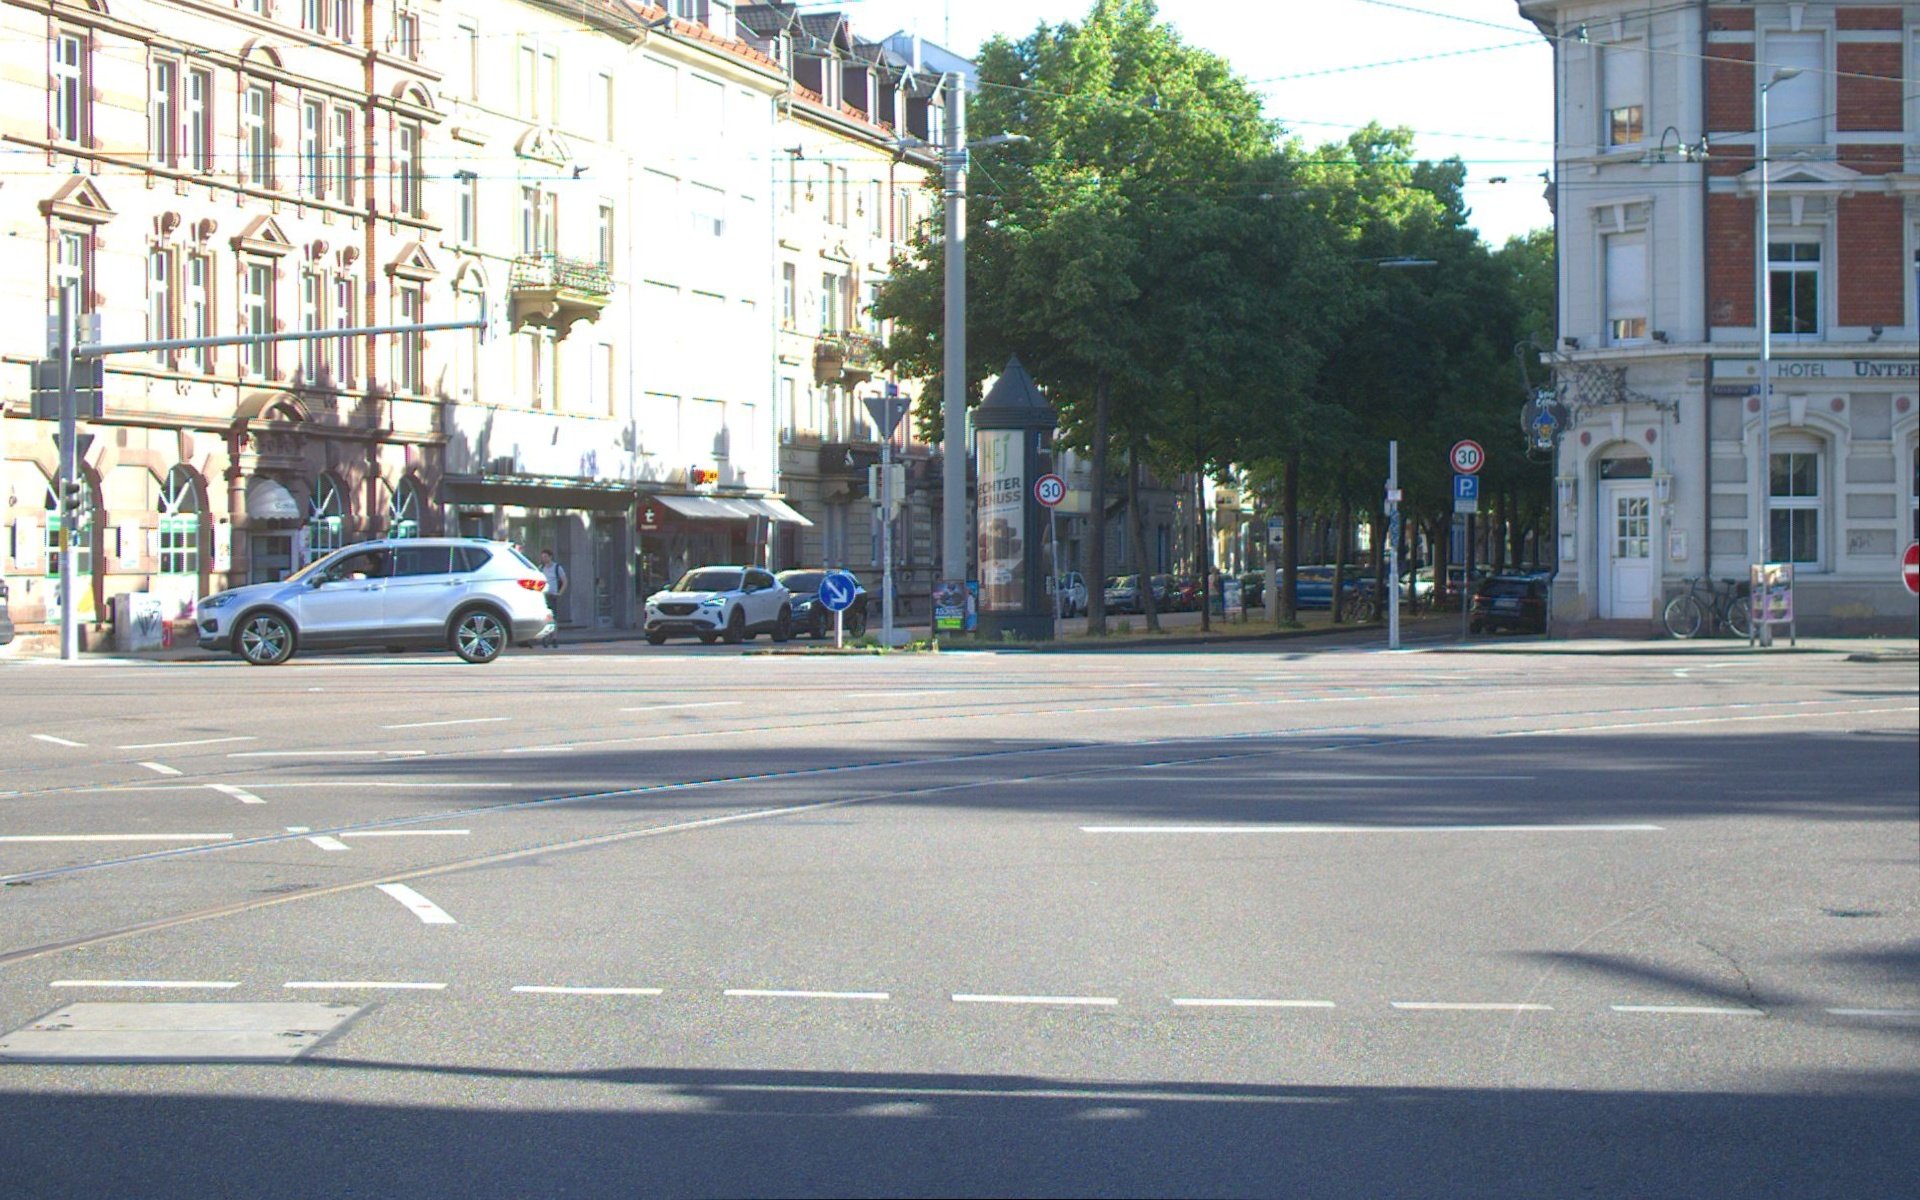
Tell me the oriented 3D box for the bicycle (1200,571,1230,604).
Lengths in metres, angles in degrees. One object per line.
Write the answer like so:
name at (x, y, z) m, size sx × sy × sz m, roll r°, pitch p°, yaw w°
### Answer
bicycle at (9.516, -0.475, 128.316) m, size 0.674 × 1.203 × 1.820 m, roll 1°, pitch 1°, yaw 18°

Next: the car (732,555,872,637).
car at (-3.353, -0.090, 73.603) m, size 1.826 × 1.679 × 3.872 m, roll 1°, pitch 1°, yaw 16°

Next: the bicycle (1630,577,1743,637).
bicycle at (12.075, 0.108, 57.106) m, size 1.804 × 0.959 × 0.603 m, roll 1°, pitch 0°, yaw 14°

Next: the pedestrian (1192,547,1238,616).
pedestrian at (7.474, -0.539, 100.777) m, size 0.961 × 2.007 × 0.918 m, roll 1°, pitch 0°, yaw -32°

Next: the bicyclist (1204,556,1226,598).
bicyclist at (9.521, -0.846, 128.317) m, size 0.674 × 1.563 × 0.747 m, roll 1°, pitch 0°, yaw 18°

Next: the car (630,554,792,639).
car at (-4.830, -0.087, 67.267) m, size 1.804 × 1.579 × 4.156 m, roll 1°, pitch 1°, yaw 17°

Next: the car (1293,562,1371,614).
car at (12.636, -0.413, 116.598) m, size 1.995 × 1.678 × 3.997 m, roll 1°, pitch 1°, yaw 15°

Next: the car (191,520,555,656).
car at (-7.802, -0.159, 45.902) m, size 4.673 × 1.728 × 1.837 m, roll 1°, pitch 0°, yaw -8°

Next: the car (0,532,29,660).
car at (-15.334, -0.094, 47.881) m, size 4.228 × 1.767 × 1.818 m, roll 1°, pitch 0°, yaw -1°

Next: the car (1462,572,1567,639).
car at (13.329, 0.111, 82.490) m, size 1.758 × 1.550 × 3.996 m, roll 1°, pitch 1°, yaw 20°
